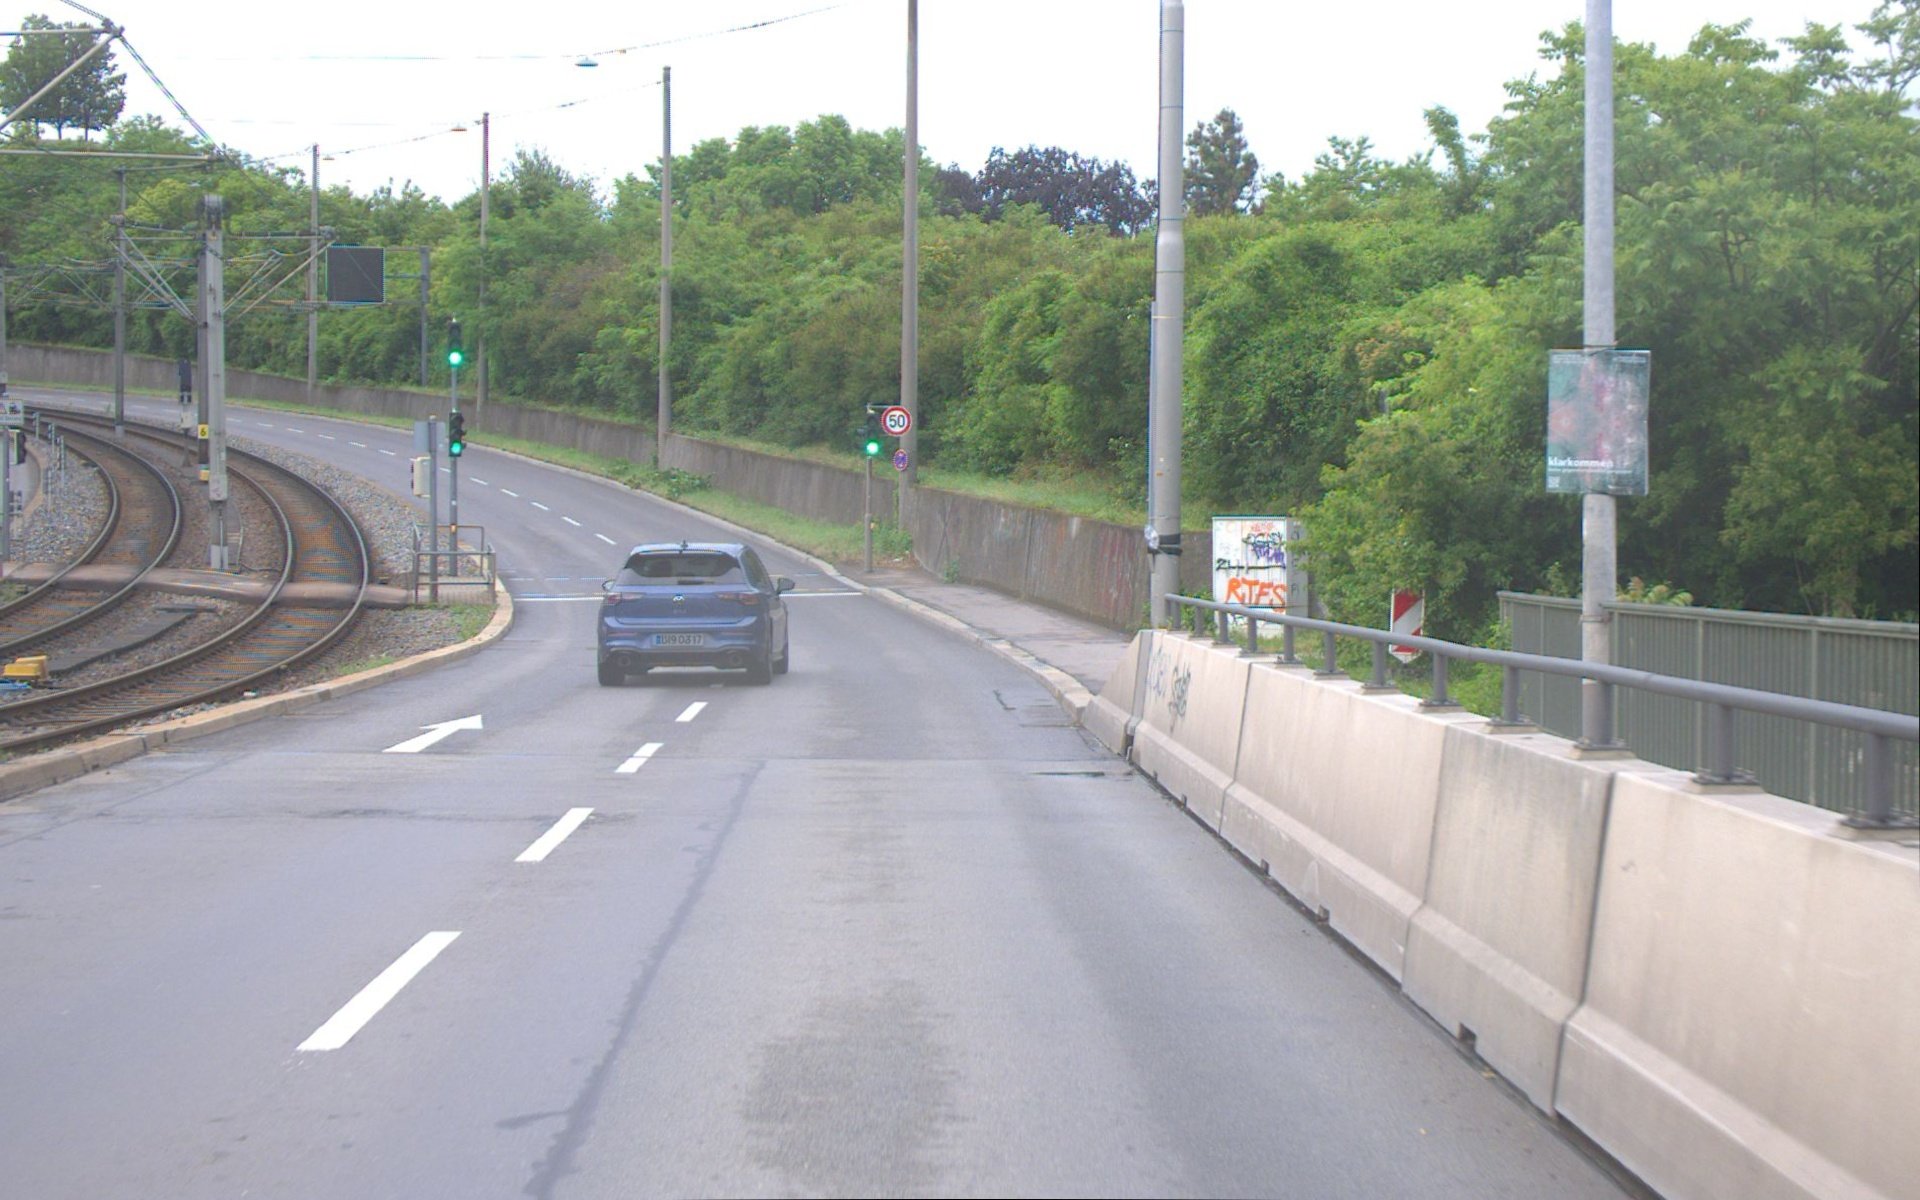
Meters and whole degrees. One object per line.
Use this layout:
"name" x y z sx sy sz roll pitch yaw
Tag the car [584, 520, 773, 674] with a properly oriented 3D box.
"car" -2.890 -0.057 35.981 1.763 1.496 4.000 1 1 -2
